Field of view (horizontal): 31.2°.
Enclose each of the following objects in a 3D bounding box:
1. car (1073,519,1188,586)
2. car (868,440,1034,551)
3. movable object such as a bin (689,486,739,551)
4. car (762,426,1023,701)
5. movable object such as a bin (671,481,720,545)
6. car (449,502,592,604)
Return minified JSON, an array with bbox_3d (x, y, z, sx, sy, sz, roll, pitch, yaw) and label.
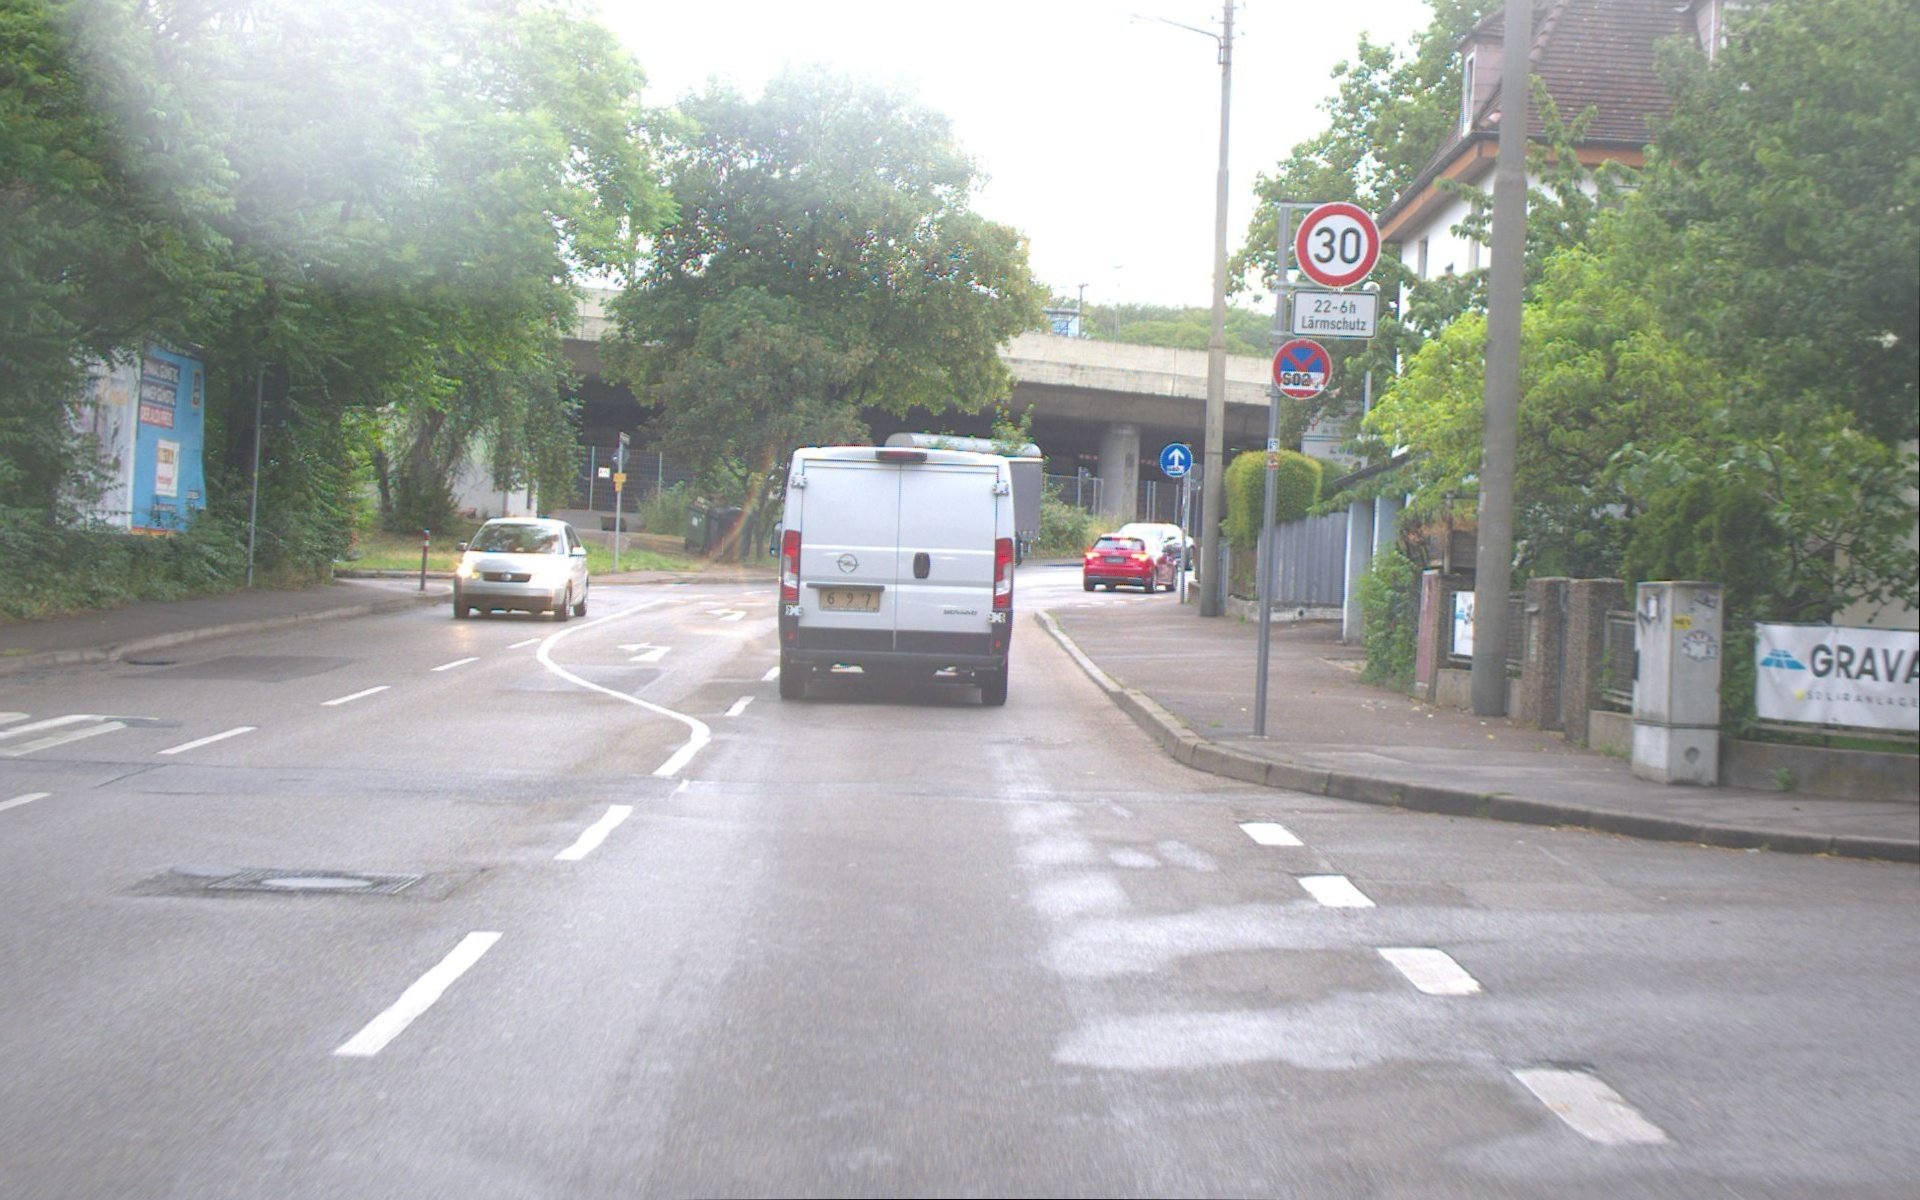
[{"bbox_3d":[4.176,-1.162,83.899,1.767,1.505,3.751,3,2,19],"label":"car"},{"bbox_3d":[-0.195,-3.034,101.170,2.536,3.007,7.204,3,2,19],"label":"car"},{"bbox_3d":[-6.371,-2.120,89.238,0.940,1.558,1.130,8,2,4],"label":"movable object such as a bin"},{"bbox_3d":[-0.650,-0.350,31.880,2.146,2.275,5.063,2,1,-2],"label":"car"},{"bbox_3d":[-6.965,-2.289,90.592,0.940,1.558,1.130,8,2,4],"label":"movable object such as a bin"},{"bbox_3d":[-6.385,-0.713,50.237,1.654,1.412,3.936,0,2,-1],"label":"car"}]
